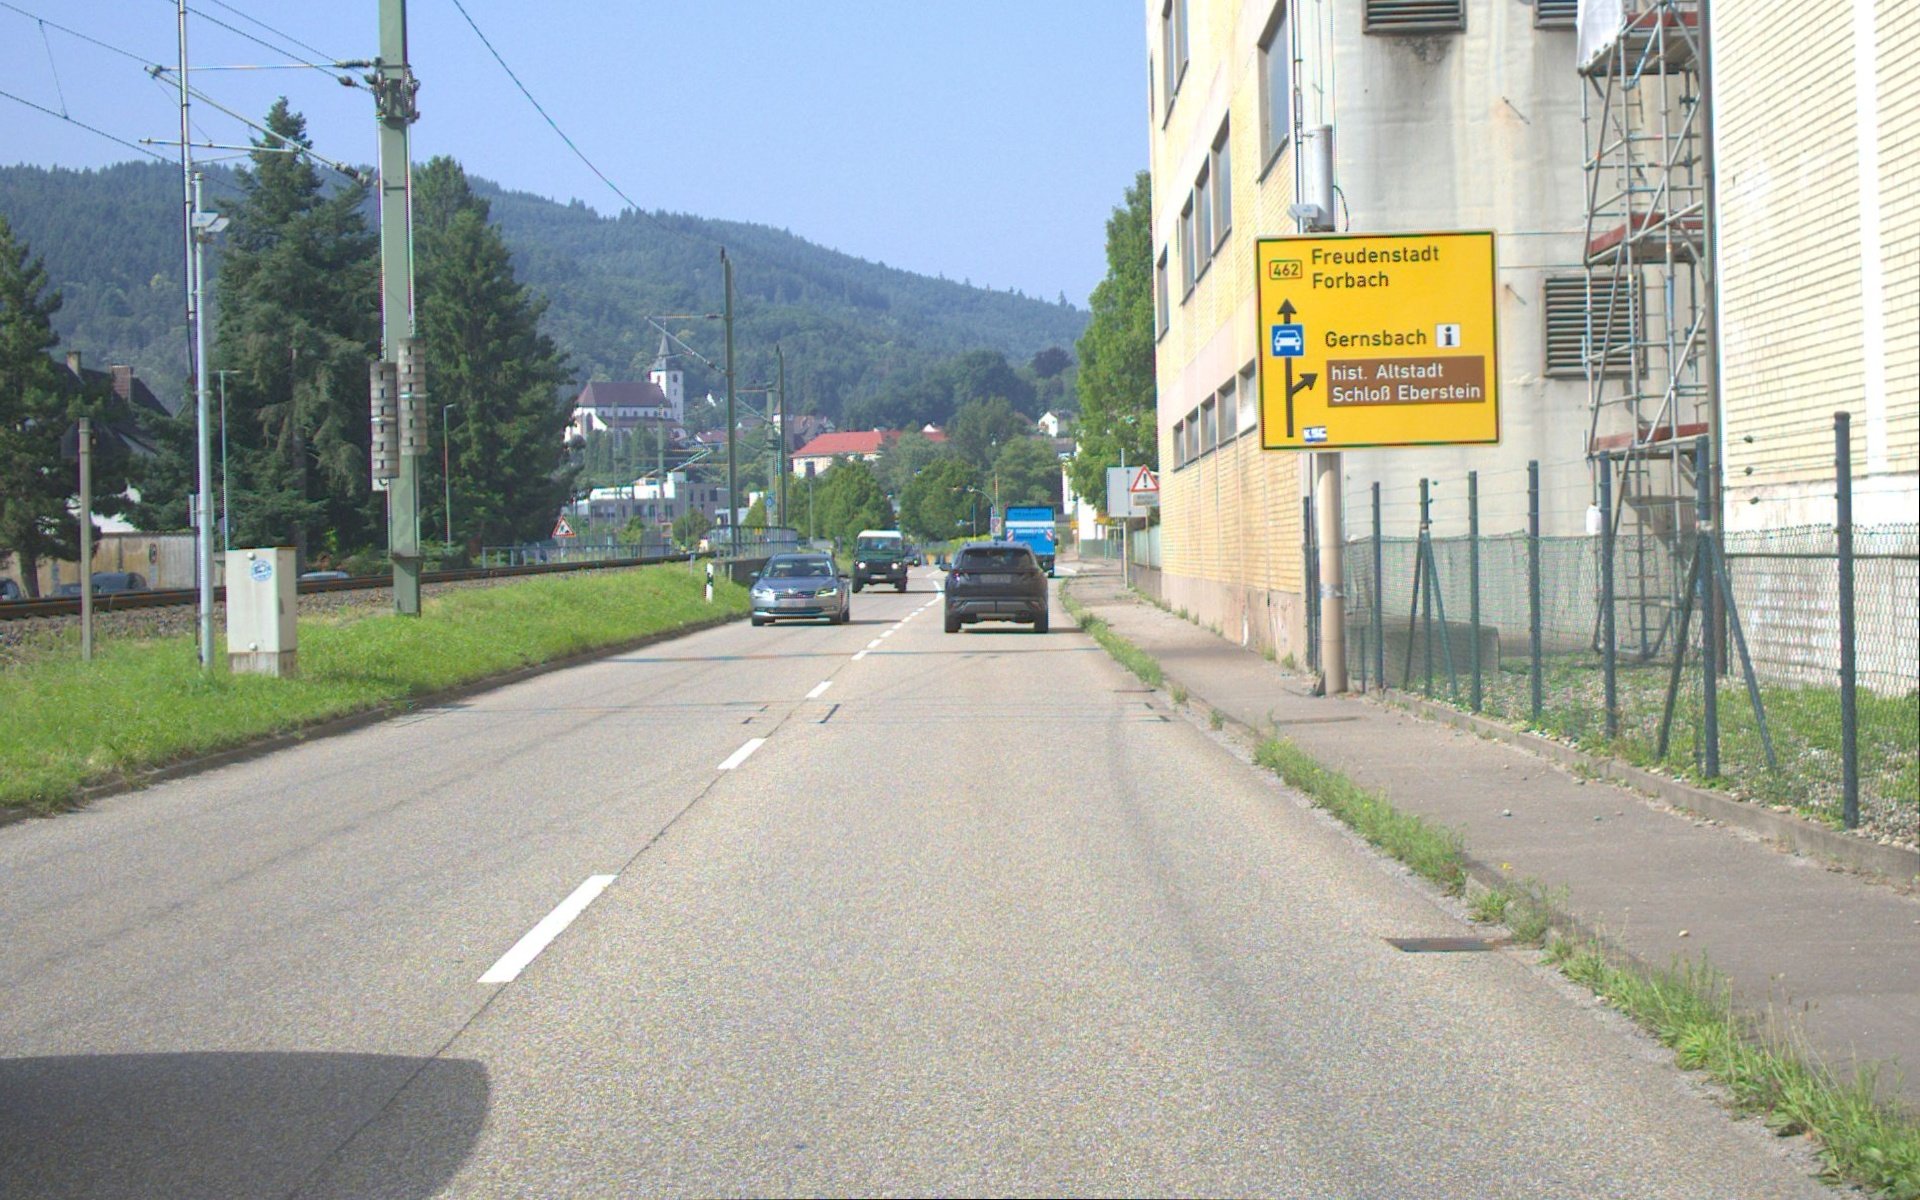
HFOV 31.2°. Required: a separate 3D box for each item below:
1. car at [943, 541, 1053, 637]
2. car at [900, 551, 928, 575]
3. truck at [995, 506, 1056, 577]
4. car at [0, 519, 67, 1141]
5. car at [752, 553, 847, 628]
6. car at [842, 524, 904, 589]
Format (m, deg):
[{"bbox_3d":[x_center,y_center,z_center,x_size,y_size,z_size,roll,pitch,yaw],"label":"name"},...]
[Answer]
[{"bbox_3d":[0.721,-0.220,62.800,1.919,1.634,4.000,-1,1,1],"label":"car"},{"bbox_3d":[-3.001,-2.417,224.149,1.741,1.502,4.200,-1,1,0],"label":"car"},{"bbox_3d":[2.804,-2.558,148.516,2.312,2.960,5.966,-1,2,-1],"label":"truck"},{"bbox_3d":[-3.421,0.628,7.193,1.906,1.595,4.570,-1,1,0],"label":"car"},{"bbox_3d":[-3.267,-0.217,70.577,1.767,1.400,4.297,-2,1,-1],"label":"car"},{"bbox_3d":[-2.837,-1.444,113.049,1.758,2.071,4.808,0,1,2],"label":"car"}]
